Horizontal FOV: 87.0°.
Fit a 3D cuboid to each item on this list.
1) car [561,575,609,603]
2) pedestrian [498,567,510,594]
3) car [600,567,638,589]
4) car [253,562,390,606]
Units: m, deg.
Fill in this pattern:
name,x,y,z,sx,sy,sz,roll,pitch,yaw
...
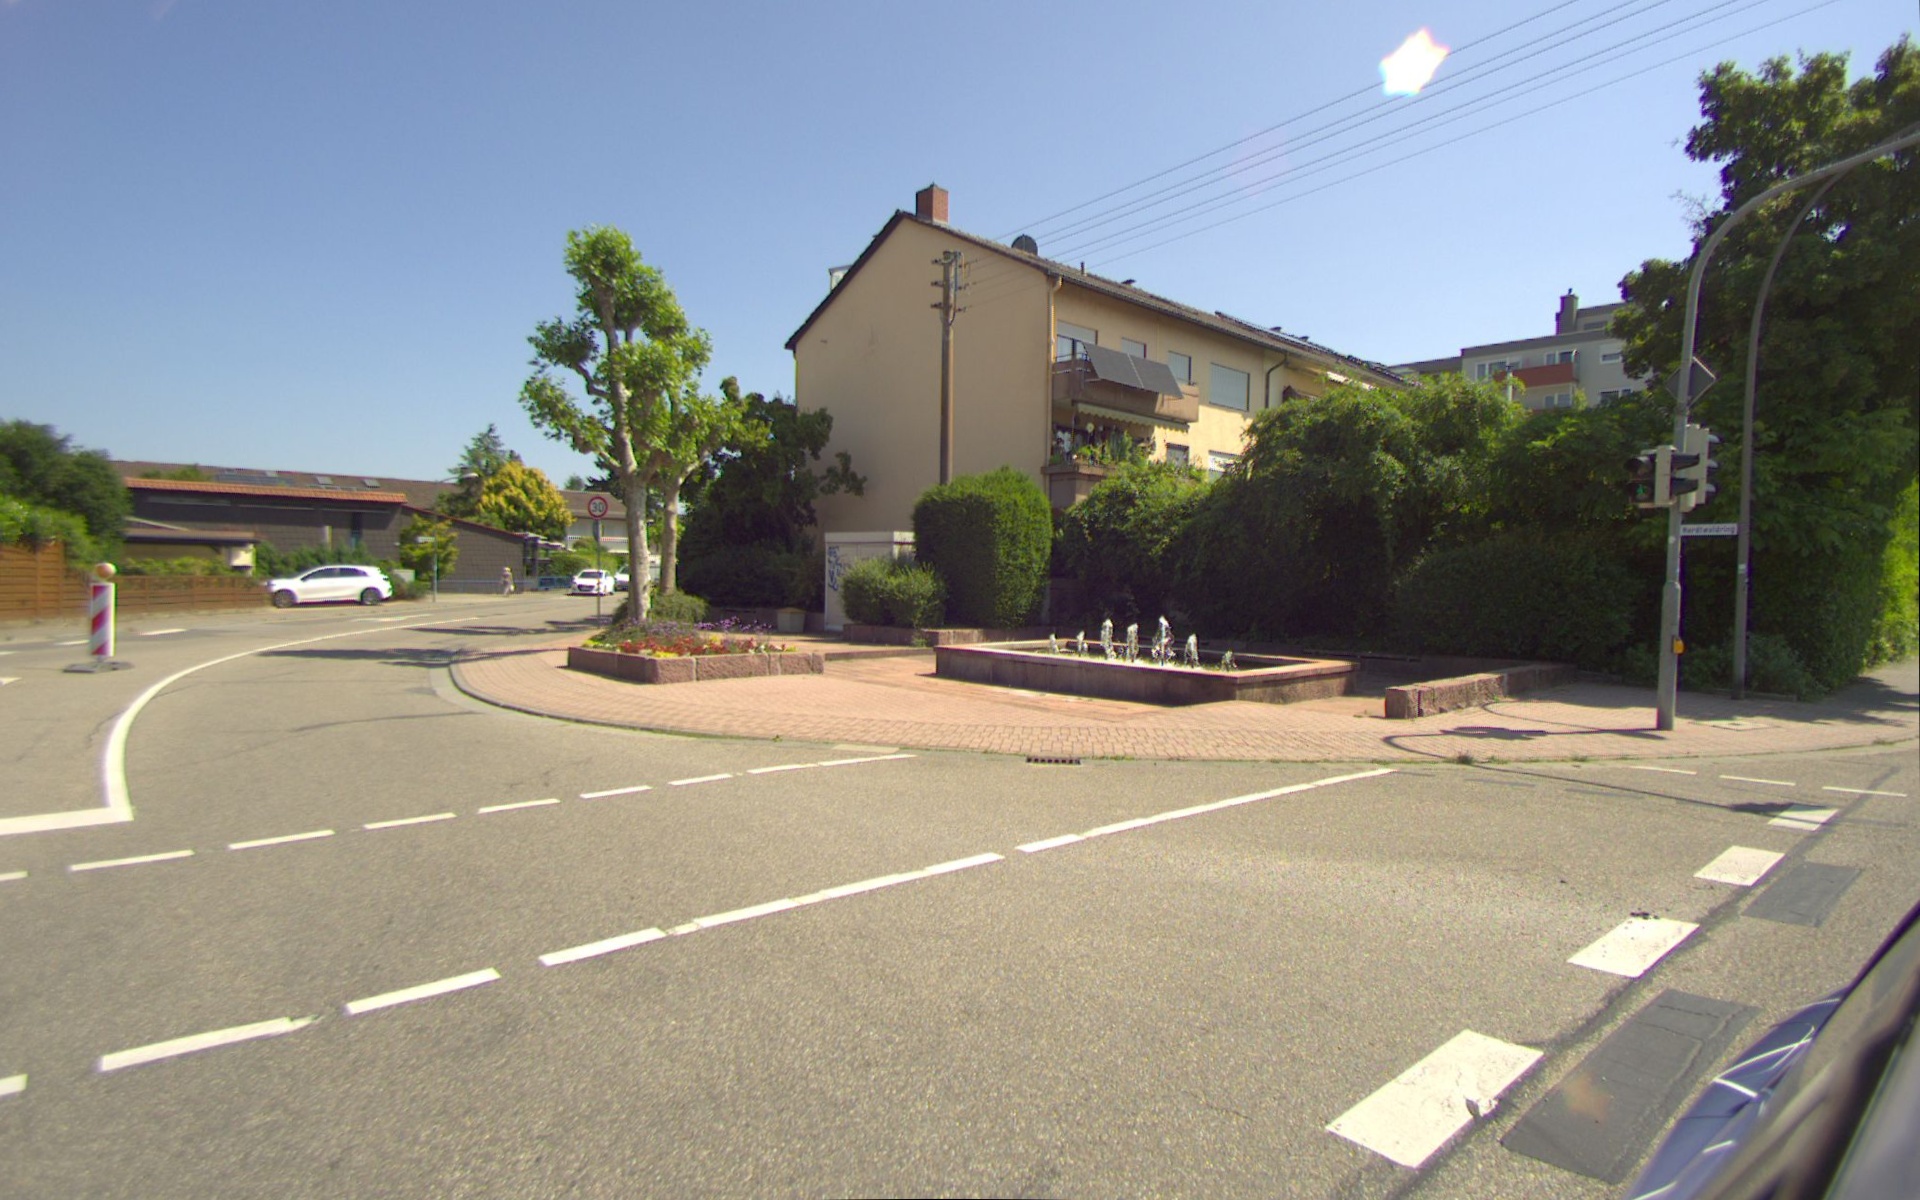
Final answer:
name,x,y,z,sx,sy,sz,roll,pitch,yaw
car,-21.090,-0.630,57.049,1.958,1.437,4.009,0,2,-12
pedestrian,-22.422,-0.973,49.776,0.531,1.331,0.432,0,1,-20
car,-22.965,-1.507,68.265,1.958,1.437,4.009,0,2,-12
car,-22.493,-0.576,35.733,3.915,1.449,1.422,-1,2,-42
